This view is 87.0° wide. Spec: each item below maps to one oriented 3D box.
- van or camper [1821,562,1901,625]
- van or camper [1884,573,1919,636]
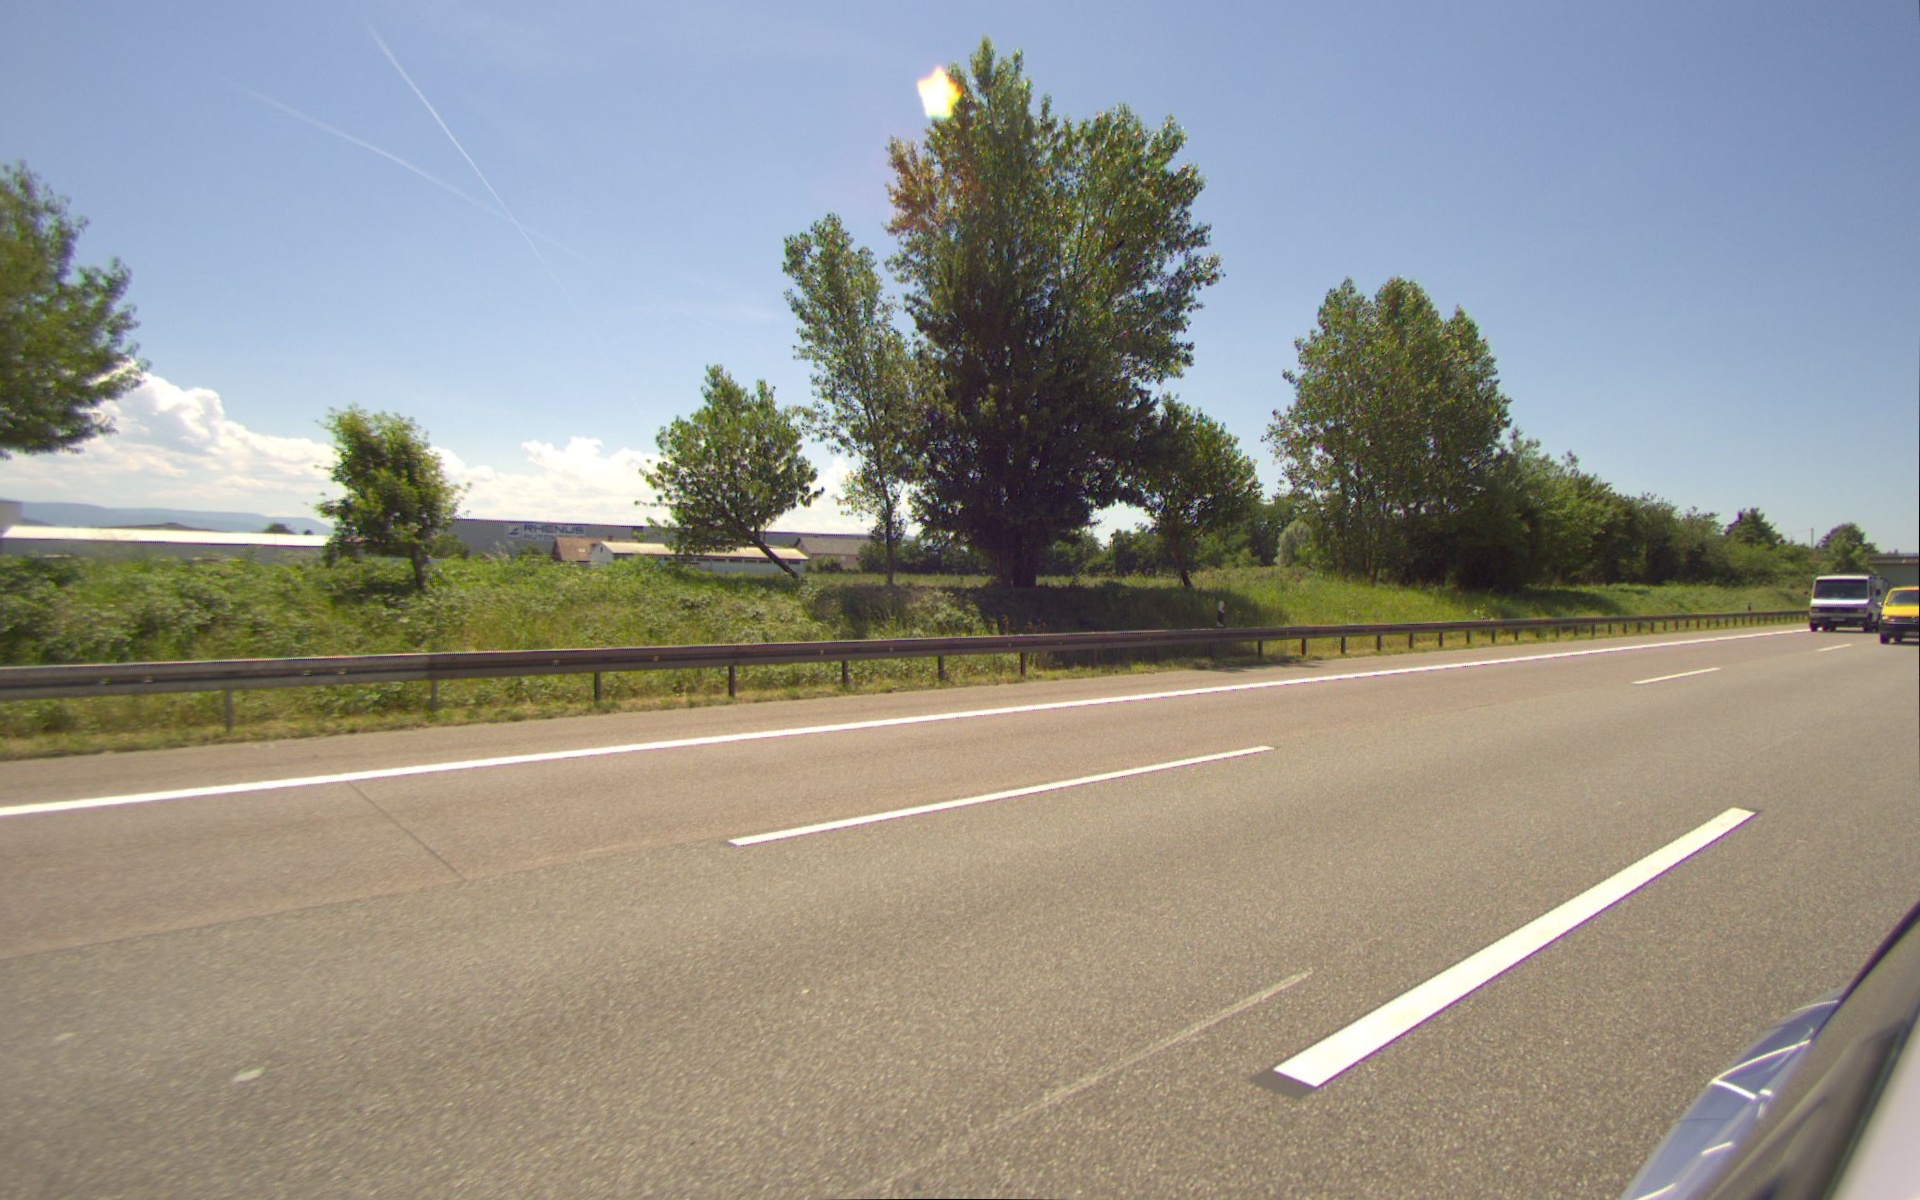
[{"bbox_3d":[42.134,-0.317,47.262,6.258,2.737,2.116,0,0,-42],"label":"van or camper"},{"bbox_3d":[33.232,0.138,34.391,5.781,2.029,2.062,0,1,-41],"label":"van or camper"}]
